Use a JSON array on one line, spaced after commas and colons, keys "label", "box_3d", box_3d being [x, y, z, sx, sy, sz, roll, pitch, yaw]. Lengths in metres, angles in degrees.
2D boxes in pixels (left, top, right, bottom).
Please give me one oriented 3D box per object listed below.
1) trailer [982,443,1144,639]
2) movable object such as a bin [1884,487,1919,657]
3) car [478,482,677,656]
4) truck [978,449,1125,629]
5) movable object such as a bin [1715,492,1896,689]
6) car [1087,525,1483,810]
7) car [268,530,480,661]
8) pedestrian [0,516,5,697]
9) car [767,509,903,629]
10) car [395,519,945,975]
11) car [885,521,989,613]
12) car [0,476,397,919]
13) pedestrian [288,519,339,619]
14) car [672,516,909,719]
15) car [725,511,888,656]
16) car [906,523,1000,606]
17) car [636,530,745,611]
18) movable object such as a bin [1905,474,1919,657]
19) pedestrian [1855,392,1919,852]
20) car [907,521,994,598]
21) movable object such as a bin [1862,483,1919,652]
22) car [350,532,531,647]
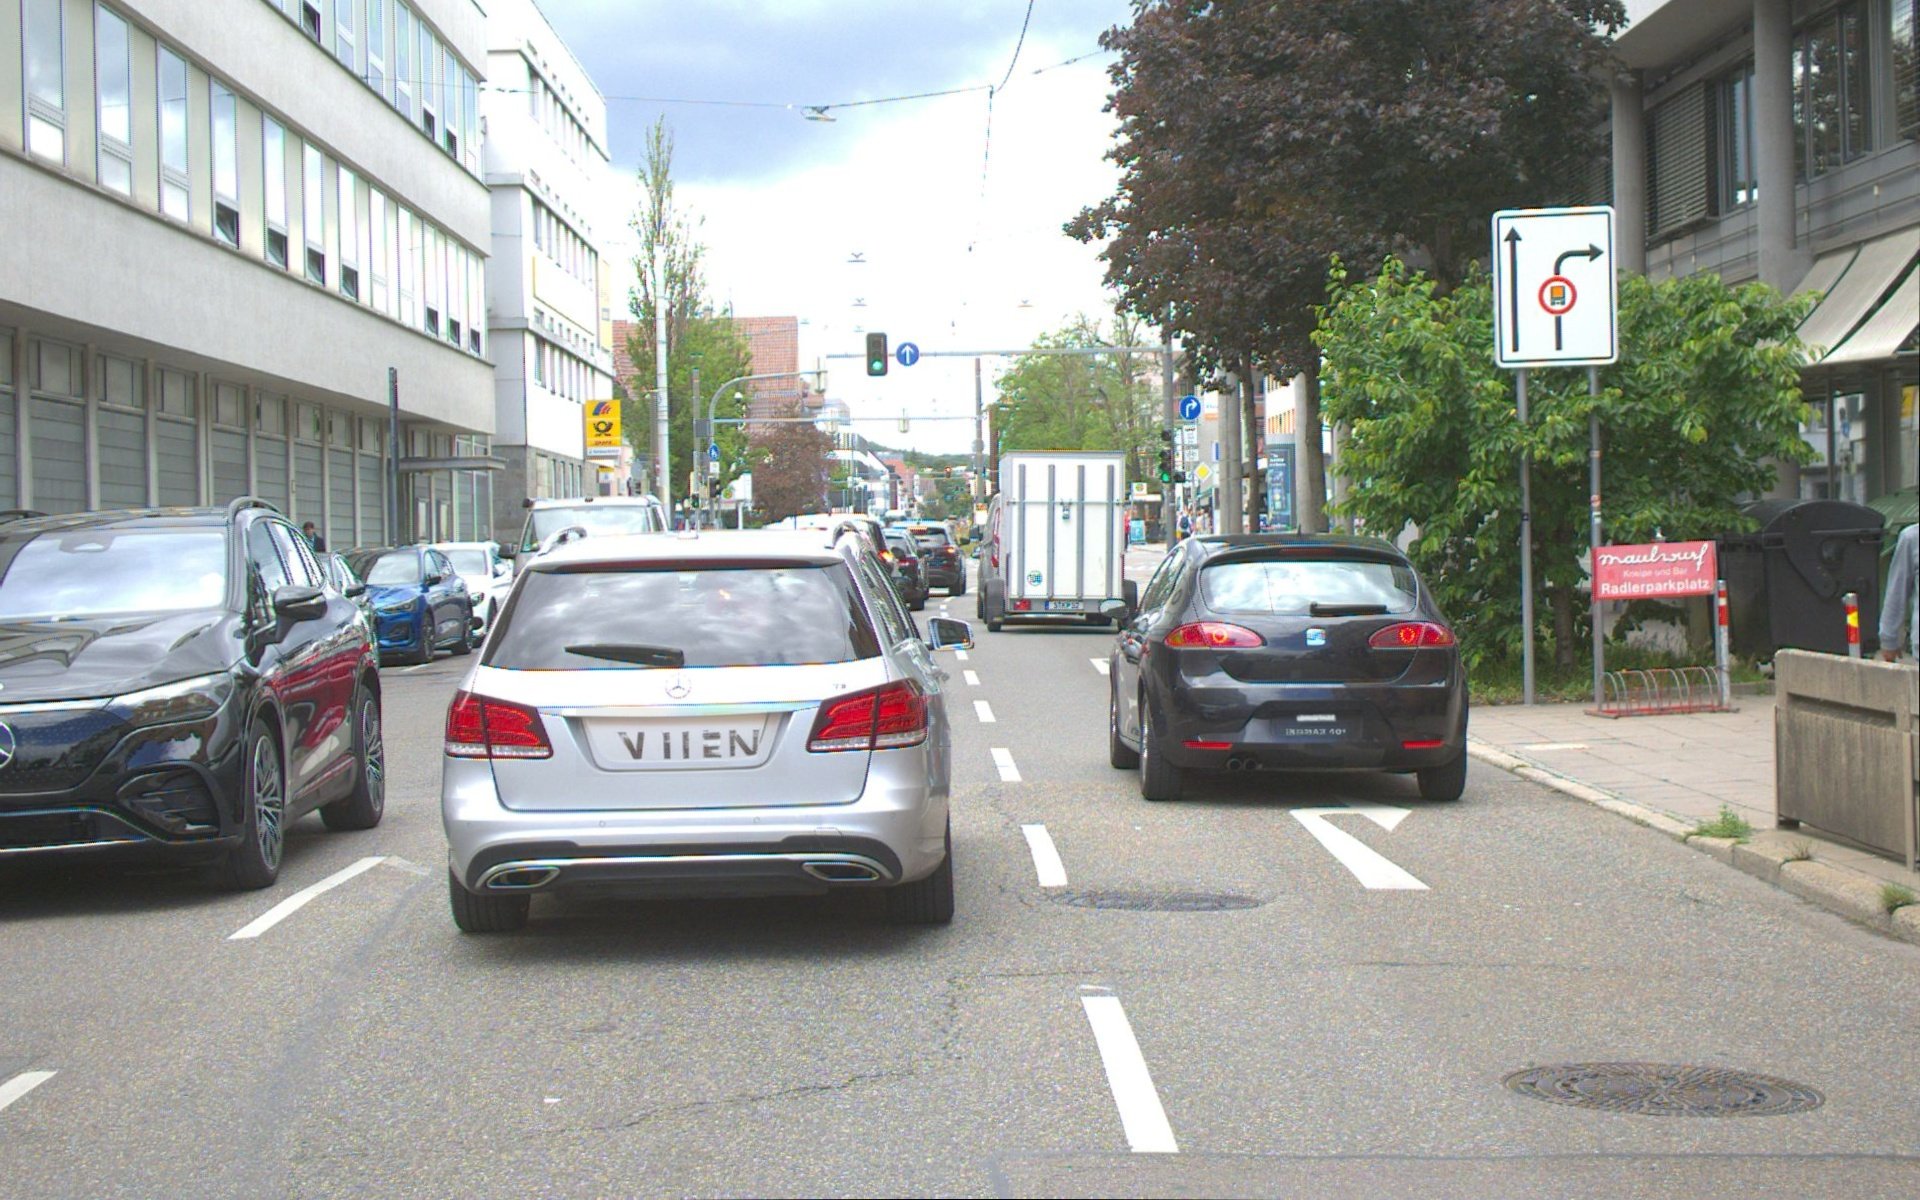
[{"label": "trailer", "box_3d": [1.405, -0.855, 48.984, 1.993, 2.598, 5.350, -1, 1, -1]}, {"label": "movable object such as a bin", "box_3d": [8.743, -0.271, 30.471, 0.821, 1.485, 0.732, -3, 0, 1]}, {"label": "car", "box_3d": [-4.764, -0.426, 43.491, 1.993, 2.007, 4.903, -2, 1, -1]}, {"label": "truck", "box_3d": [1.343, -0.927, 51.732, 1.993, 2.598, 3.260, -1, 1, -1]}, {"label": "movable object such as a bin", "box_3d": [6.644, -0.084, 27.082, 0.943, 1.465, 1.446, -3, 1, -3]}, {"label": "car", "box_3d": [1.745, 0.304, 19.613, 1.765, 1.428, 3.829, -1, 1, -2]}, {"label": "car", "box_3d": [-7.277, -0.093, 43.085, 1.993, 1.511, 4.175, -1, 1, -1]}, {"label": "pedestrian", "box_3d": [-9.665, 0.076, 33.179, 0.642, 1.763, 0.810, -1, 1, -1]}, {"label": "car", "box_3d": [-1.707, -0.456, 47.606, 1.803, 1.596, 3.738, 0, 1, -1]}, {"label": "car", "box_3d": [-1.006, 0.446, 13.342, 1.803, 1.487, 3.738, -1, 1, -1]}, {"label": "car", "box_3d": [-0.442, -0.615, 61.316, 1.803, 1.596, 3.738, 0, 1, -1]}, {"label": "car", "box_3d": [-3.987, 0.363, 16.023, 1.993, 1.733, 4.554, -3, 1, -1]}, {"label": "pedestrian", "box_3d": [-10.526, -0.510, 55.998, 0.656, 1.617, 0.681, -1, 1, 1]}, {"label": "car", "box_3d": [-1.357, 0.092, 28.564, 1.803, 1.547, 3.738, -1, 1, -1]}, {"label": "car", "box_3d": [-1.736, -0.227, 39.889, 1.803, 1.596, 3.738, 0, 1, -1]}, {"label": "car", "box_3d": [-0.162, -0.727, 68.627, 1.803, 1.596, 3.738, 0, 1, -1]}, {"label": "car", "box_3d": [-5.054, -0.580, 64.834, 1.769, 1.408, 4.175, -2, 1, -1]}, {"label": "movable object such as a bin", "box_3d": [8.720, -0.318, 29.715, 0.821, 1.584, 0.732, -3, 0, 1]}, {"label": "pedestrian", "box_3d": [4.447, 0.082, 15.331, 0.693, 2.007, 0.677, -1, 1, -2]}, {"label": "car", "box_3d": [-0.234, -0.888, 73.853, 1.803, 1.596, 3.738, 0, 1, -1]}, {"label": "movable object such as a bin", "box_3d": [8.740, -0.304, 31.228, 0.821, 1.499, 0.732, -3, 0, 1]}, {"label": "car", "box_3d": [-7.320, -0.185, 48.790, 1.993, 1.511, 4.175, -1, 1, -1]}]
